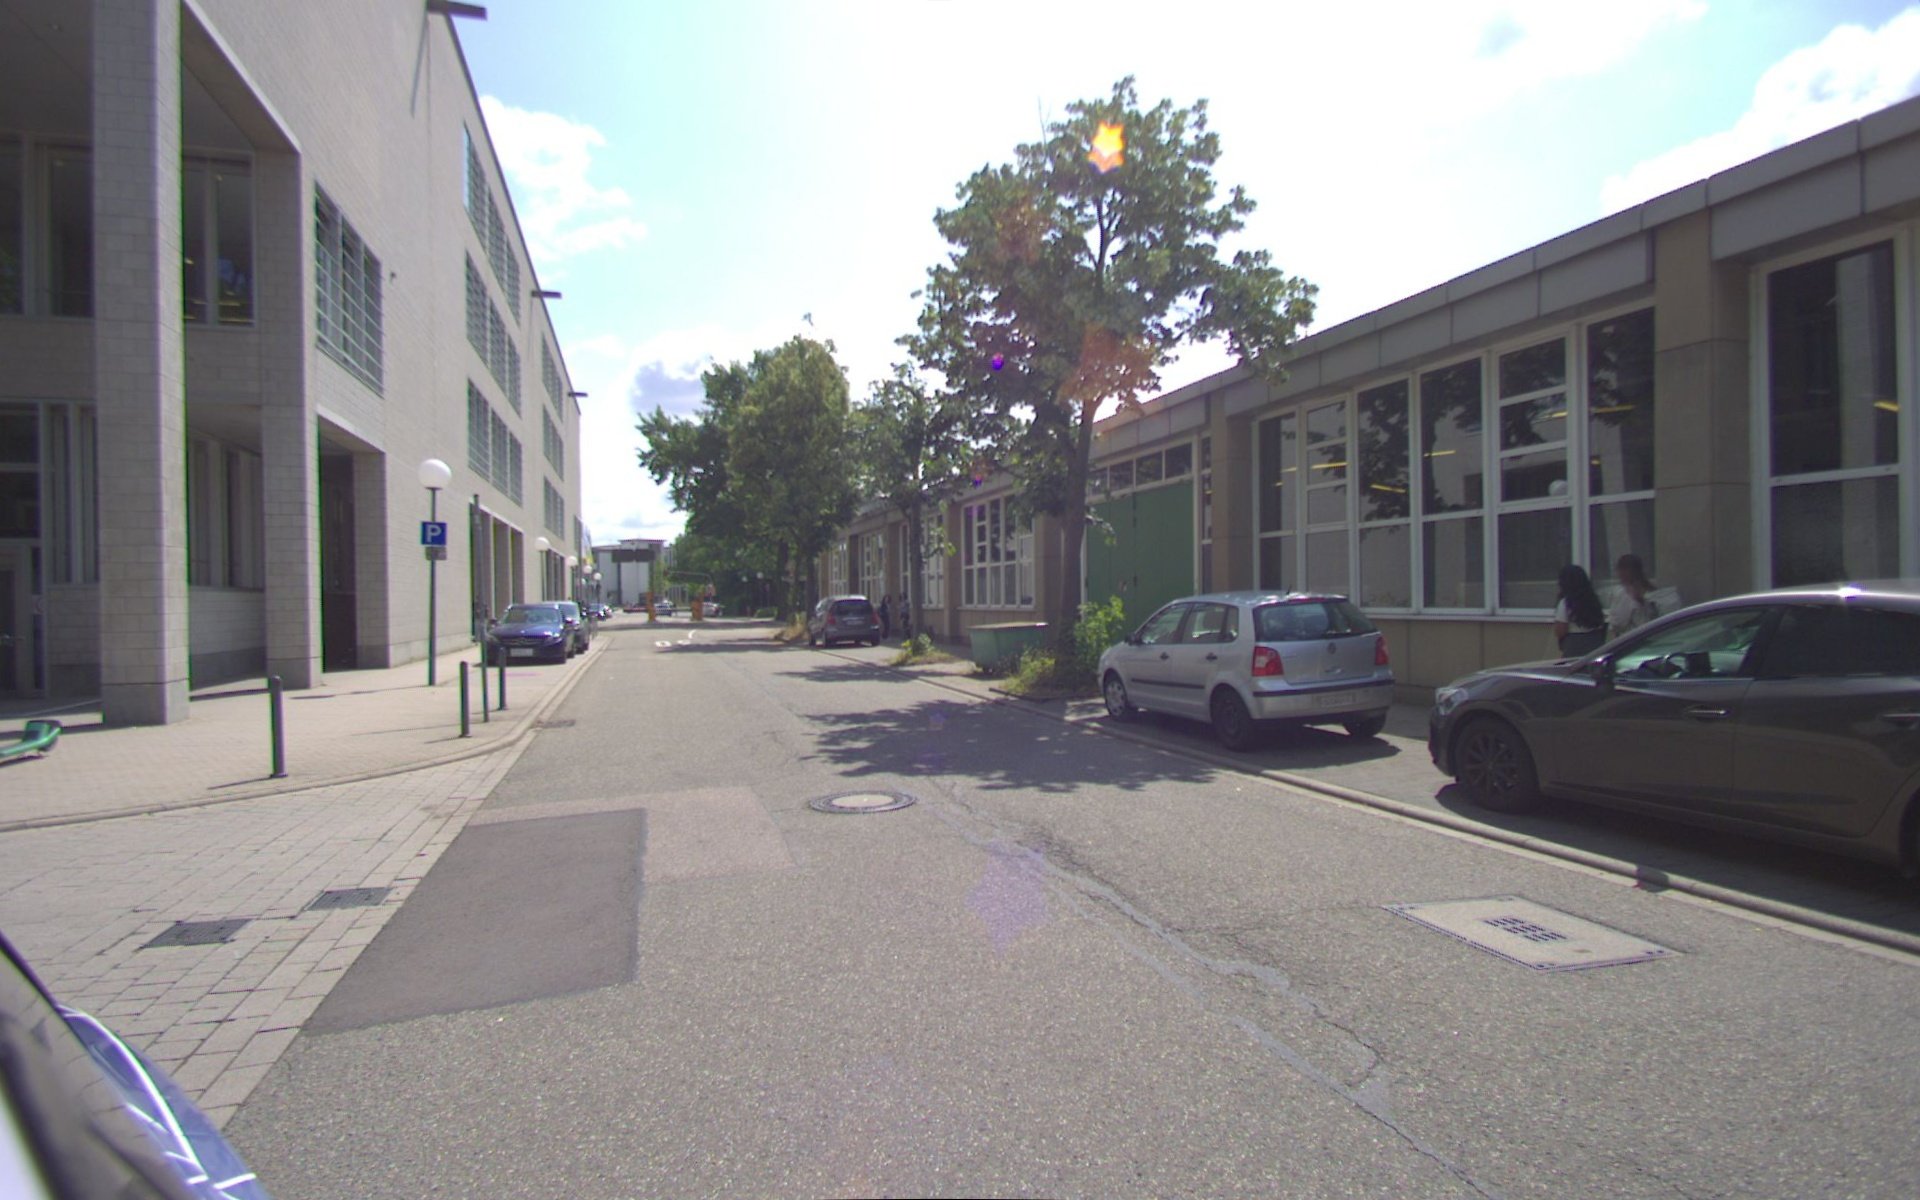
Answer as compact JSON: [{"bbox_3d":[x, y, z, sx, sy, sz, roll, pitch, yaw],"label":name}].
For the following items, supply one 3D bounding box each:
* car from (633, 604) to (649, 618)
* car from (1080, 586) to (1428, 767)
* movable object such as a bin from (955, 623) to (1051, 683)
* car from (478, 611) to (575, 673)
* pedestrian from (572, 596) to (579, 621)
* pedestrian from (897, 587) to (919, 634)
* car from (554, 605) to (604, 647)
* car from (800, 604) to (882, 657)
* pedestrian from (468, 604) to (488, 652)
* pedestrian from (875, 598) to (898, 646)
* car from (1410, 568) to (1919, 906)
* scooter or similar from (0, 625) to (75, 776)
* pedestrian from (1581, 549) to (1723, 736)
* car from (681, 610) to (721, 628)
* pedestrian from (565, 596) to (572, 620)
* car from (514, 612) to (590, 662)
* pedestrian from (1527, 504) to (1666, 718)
[{"bbox_3d":[-47.745,1.689,151.512,1.838,1.985,3.929,2,-2,-23],"label":"car"},{"bbox_3d":[2.856,0.657,10.731,1.607,1.460,3.764,-4,1,-18],"label":"car"},{"bbox_3d":[0.781,0.978,19.248,1.274,0.992,1.701,-3,0,-17],"label":"movable object such as a bin"},{"bbox_3d":[-10.673,1.013,25.167,1.812,1.409,3.889,1,-1,-17],"label":"car"},{"bbox_3d":[-26.200,0.578,68.949,0.376,1.642,0.521,2,-2,-17],"label":"pedestrian"},{"bbox_3d":[-1.763,0.352,34.491,0.595,1.593,0.553,1,-1,-20],"label":"pedestrian"},{"bbox_3d":[-16.771,1.123,44.663,1.769,1.714,4.012,2,-2,-17],"label":"car"},{"bbox_3d":[-3.826,0.904,32.015,1.774,1.460,3.688,-4,1,-18],"label":"car"},{"bbox_3d":[-16.071,0.926,33.740,0.541,1.593,0.607,1,-1,-21],"label":"pedestrian"},{"bbox_3d":[-2.471,0.752,34.099,0.599,1.593,0.549,0,-1,13],"label":"pedestrian"},{"bbox_3d":[4.725,0.584,5.429,1.701,1.446,4.303,-3,0,-18],"label":"car"},{"bbox_3d":[-8.410,0.855,8.766,0.555,1.221,1.515,2,0,-19],"label":"scooter or similar"},{"bbox_3d":[6.074,0.350,8.905,0.652,1.553,0.800,-1,0,-27],"label":"pedestrian"},{"bbox_3d":[-25.282,1.842,98.765,3.613,1.460,1.810,-4,1,-19],"label":"car"},{"bbox_3d":[-26.609,0.563,68.826,0.376,1.642,0.521,2,-2,-17],"label":"pedestrian"},{"bbox_3d":[-12.201,1.095,30.490,1.812,1.409,3.889,1,-1,-17],"label":"car"},{"bbox_3d":[5.474,0.085,8.732,0.591,1.741,0.800,-1,0,-27],"label":"pedestrian"}]
